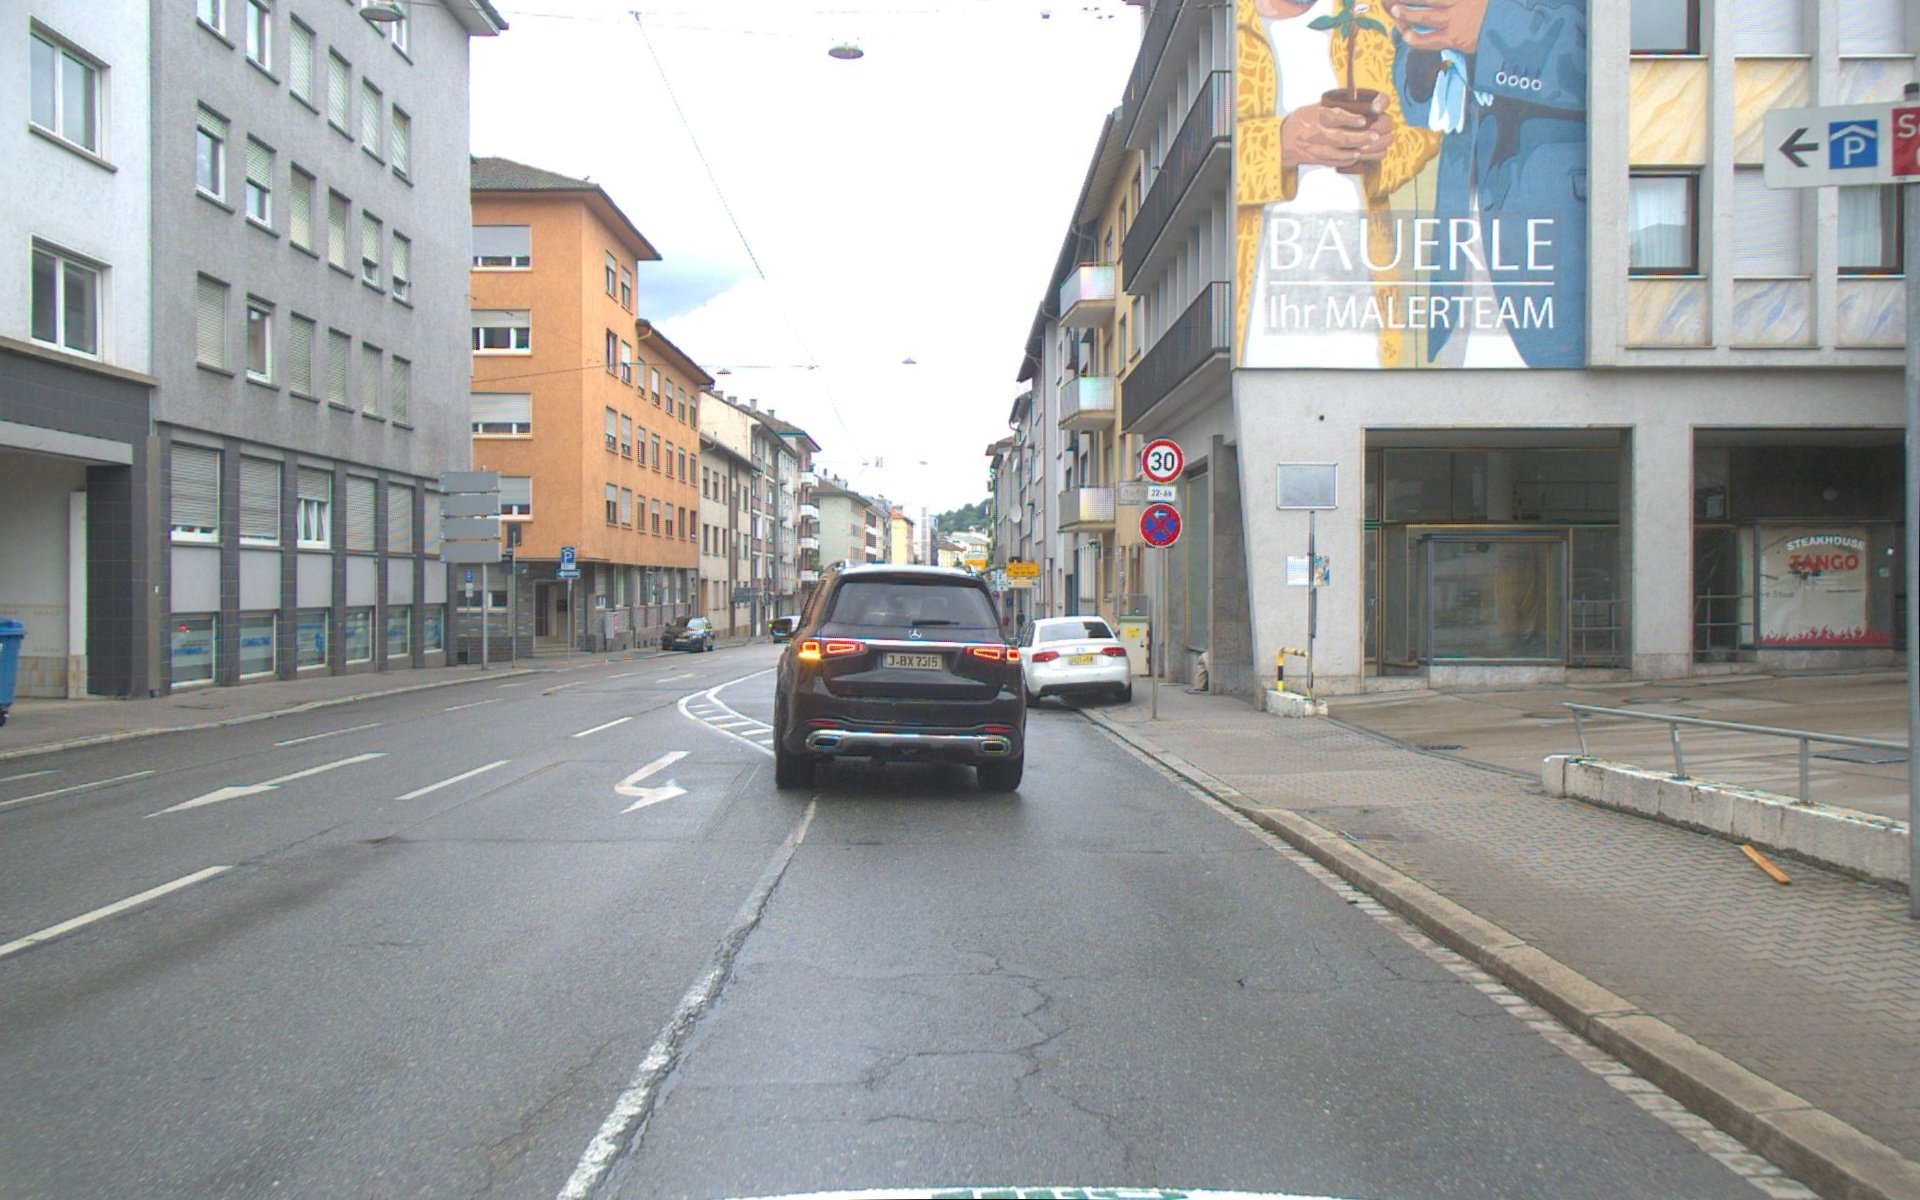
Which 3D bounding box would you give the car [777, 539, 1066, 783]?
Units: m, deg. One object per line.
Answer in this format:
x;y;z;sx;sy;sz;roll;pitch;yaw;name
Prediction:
-0.528;0.449;14.606;2.037;1.796;4.603;1;0;-8;car

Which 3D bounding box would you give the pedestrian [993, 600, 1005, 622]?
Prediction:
2.824;0.801;120.341;0.804;1.592;0.900;1;0;2;pedestrian

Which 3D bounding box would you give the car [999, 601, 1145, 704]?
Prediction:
1.816;0.825;28.317;1.856;1.426;4.606;-5;0;-3;car

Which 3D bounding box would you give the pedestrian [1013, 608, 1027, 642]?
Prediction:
3.274;1.344;89.672;0.642;1.782;0.742;-2;0;4;pedestrian

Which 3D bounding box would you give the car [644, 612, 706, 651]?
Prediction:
-11.499;1.247;66.923;1.853;1.484;4.547;1;0;-2;car

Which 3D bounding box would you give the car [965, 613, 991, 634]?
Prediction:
1.268;1.690;119.522;1.699;1.412;4.581;1;0;-2;car

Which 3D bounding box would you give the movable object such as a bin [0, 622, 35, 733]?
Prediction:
-12.317;0.950;20.468;1.054;1.347;1.190;1;0;-1;movable object such as a bin

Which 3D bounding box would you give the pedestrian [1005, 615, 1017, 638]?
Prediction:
3.703;1.924;120.306;0.804;1.592;0.900;1;0;2;pedestrian

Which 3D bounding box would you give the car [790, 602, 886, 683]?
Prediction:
-2.541;0.845;35.094;1.855;1.537;4.171;2;0;-3;car
